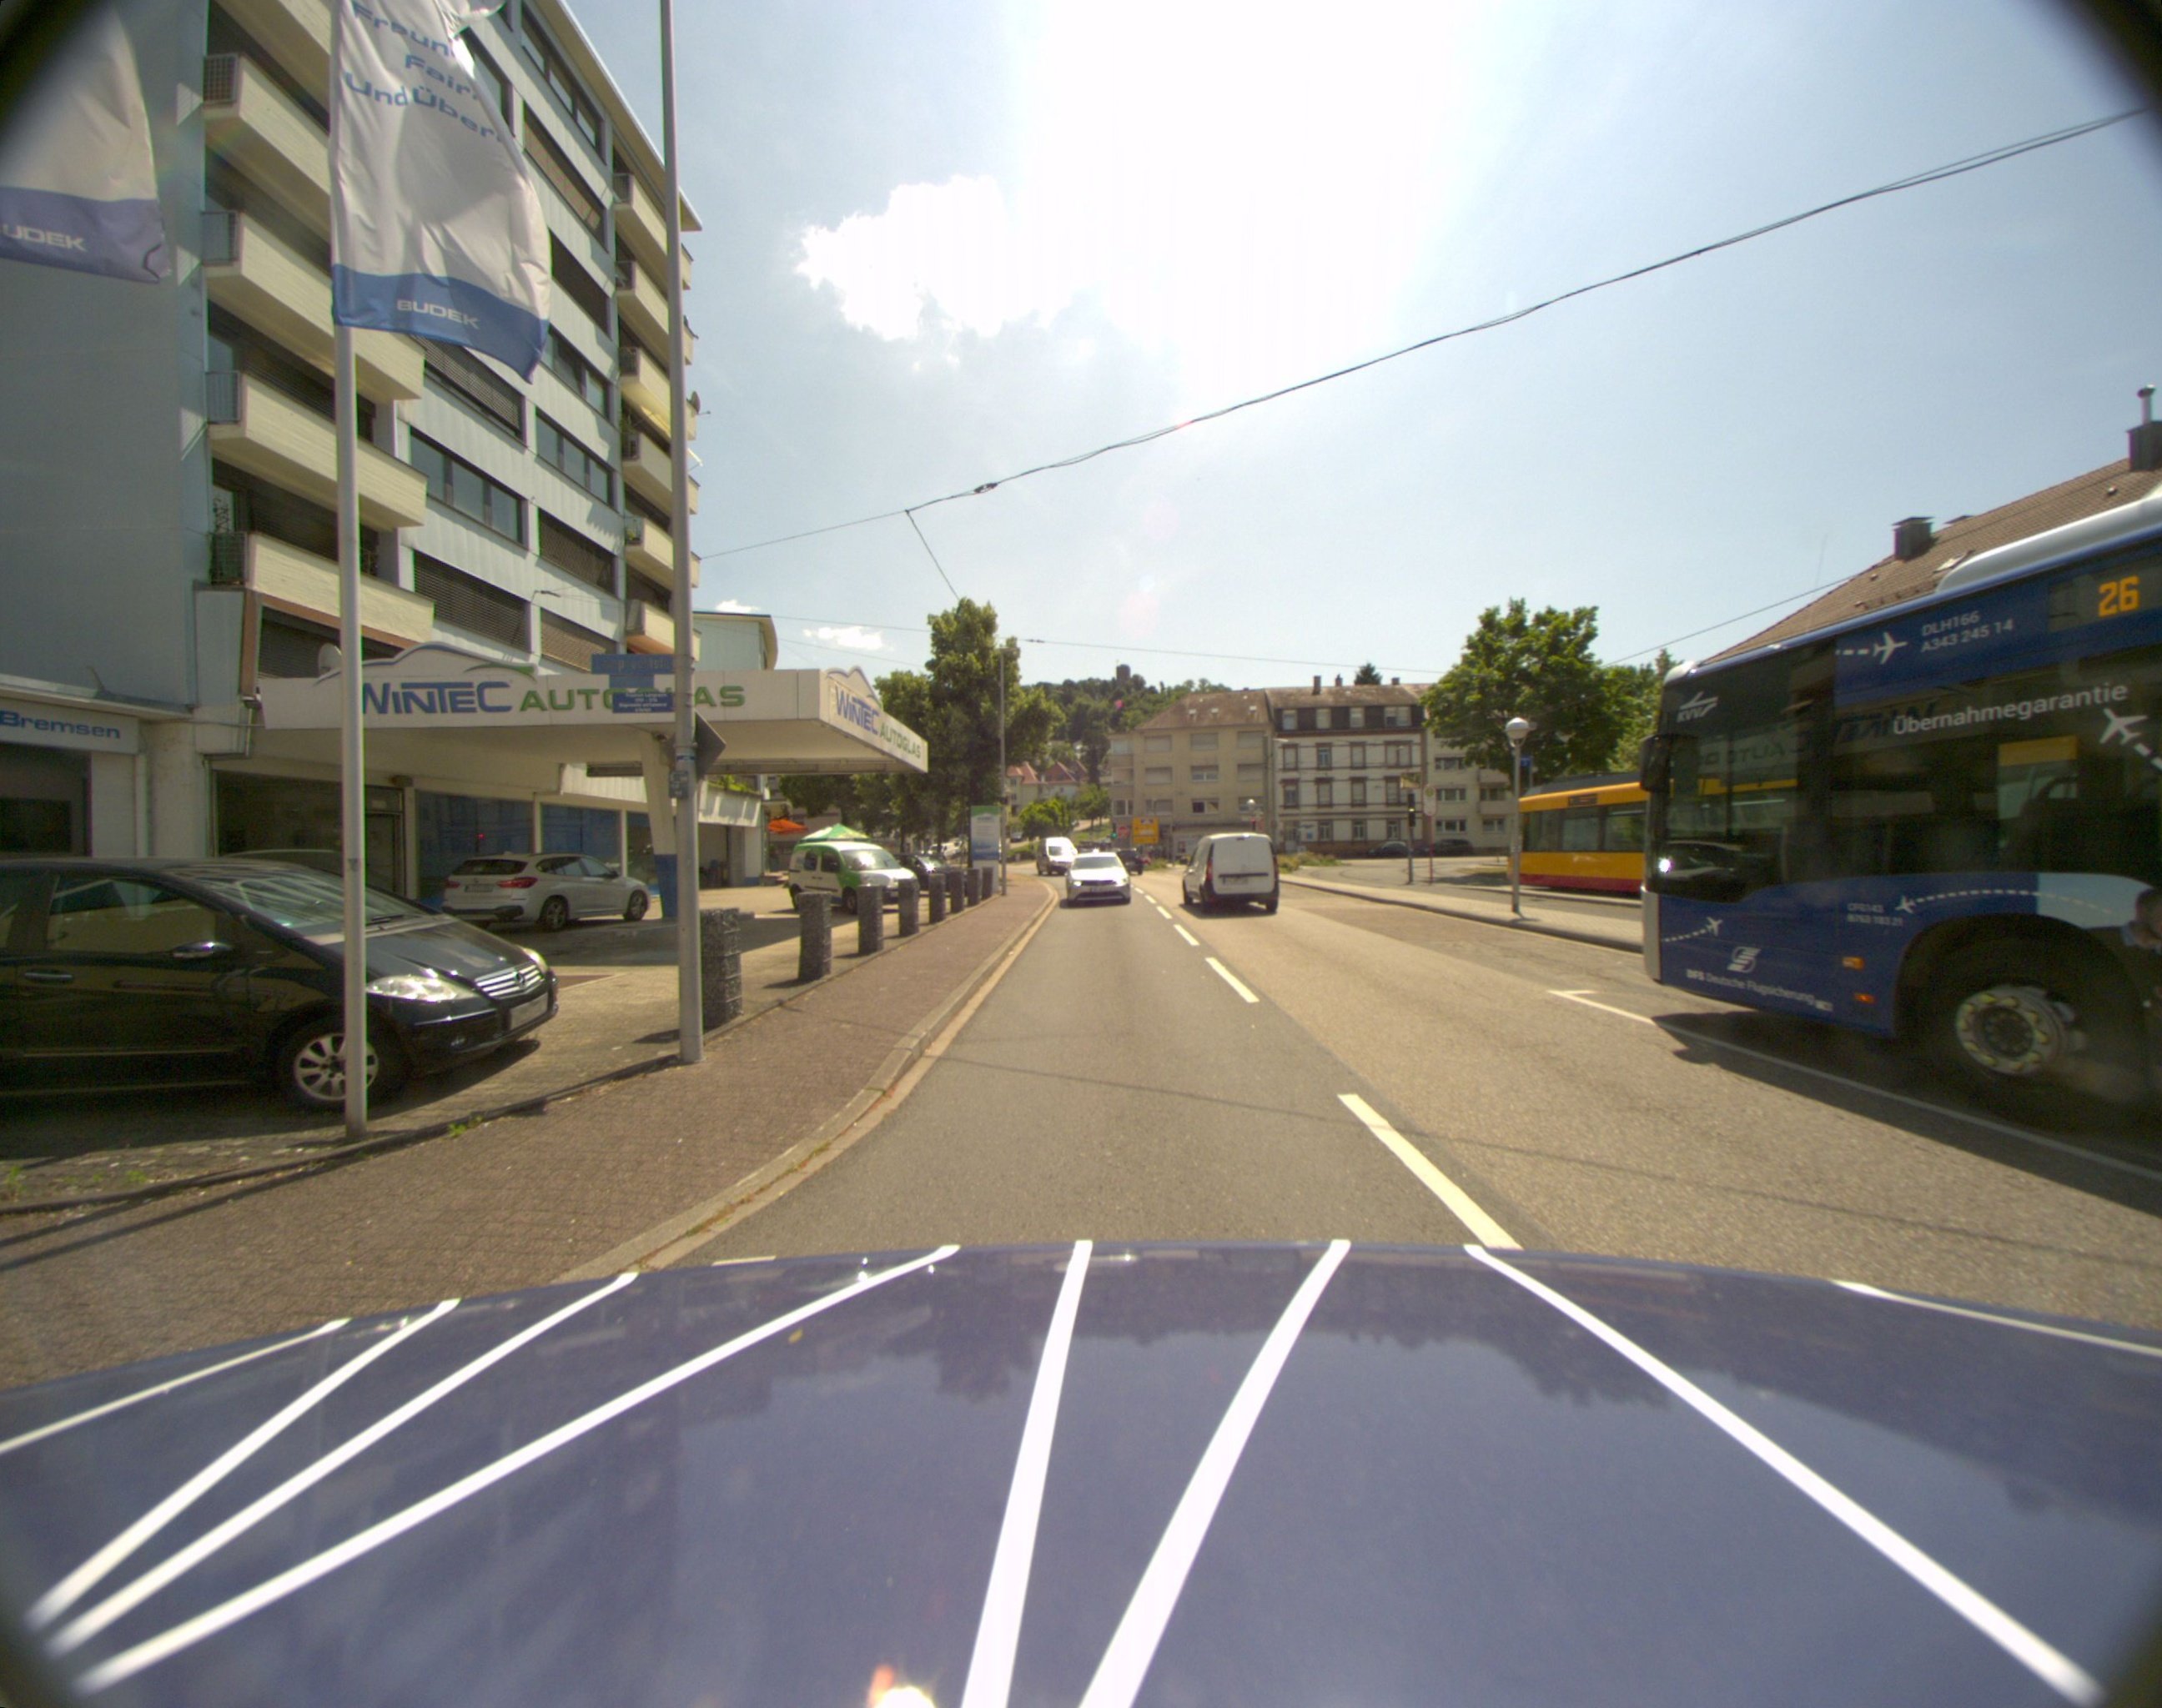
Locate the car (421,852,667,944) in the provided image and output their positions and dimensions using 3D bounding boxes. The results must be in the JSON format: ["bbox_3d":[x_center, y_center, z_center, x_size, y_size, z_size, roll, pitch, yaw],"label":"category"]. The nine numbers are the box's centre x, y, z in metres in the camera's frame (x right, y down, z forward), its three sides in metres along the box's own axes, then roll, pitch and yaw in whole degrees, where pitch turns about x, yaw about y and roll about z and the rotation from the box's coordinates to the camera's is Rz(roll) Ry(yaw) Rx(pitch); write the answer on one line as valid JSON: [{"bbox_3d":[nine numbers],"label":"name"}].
[{"bbox_3d":[-11.160,0.806,16.332,1.750,1.617,4.705,-1,1,3],"label":"car"}]

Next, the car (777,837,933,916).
[{"bbox_3d":[-6.009,0.564,19.963,4.278,1.780,1.826,-2,2,41],"label":"car"}]

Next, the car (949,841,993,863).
[{"bbox_3d":[-11.798,-0.245,81.973,2.398,2.002,6.377,-3,2,13],"label":"car"}]

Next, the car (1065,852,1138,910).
[{"bbox_3d":[0.480,0.704,21.809,1.818,1.371,4.390,-2,1,-1],"label":"car"}]

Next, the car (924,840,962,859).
[{"bbox_3d":[-16.274,-0.561,89.991,2.398,2.002,5.384,-3,2,13],"label":"car"}]

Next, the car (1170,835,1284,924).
[{"bbox_3d":[3.443,0.496,18.794,1.708,1.840,4.711,-3,2,-2],"label":"car"}]

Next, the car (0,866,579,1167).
[{"bbox_3d":[-5.957,0.928,5.072,3.889,1.534,1.840,-1,1,-11],"label":"car"}]

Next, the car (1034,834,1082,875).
[{"bbox_3d":[-1.463,-0.021,45.664,2.000,2.258,5.439,-3,2,-10],"label":"car"}]

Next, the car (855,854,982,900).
[{"bbox_3d":[-5.480,0.725,25.575,3.963,1.421,1.703,0,1,25],"label":"car"}]

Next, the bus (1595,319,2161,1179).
[{"bbox_3d":[5.704,-0.385,0.325,2.915,3.408,12.036,-3,2,1],"label":"bus"}]

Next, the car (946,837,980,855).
[{"bbox_3d":[-14.915,-1.066,96.509,2.398,2.002,5.384,-3,2,13],"label":"car"}]

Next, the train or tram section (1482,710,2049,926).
[{"bbox_3d":[14.864,-0.673,19.128,2.970,3.475,12.712,-3,1,2],"label":"train or tram section"}]

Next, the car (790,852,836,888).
[{"bbox_3d":[-11.921,0.672,33.998,1.714,1.392,4.276,-2,1,-18],"label":"car"}]

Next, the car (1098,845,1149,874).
[{"bbox_3d":[2.338,0.260,42.960,1.842,1.482,4.807,-2,1,-9],"label":"car"}]

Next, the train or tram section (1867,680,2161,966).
[{"bbox_3d":[14.653,-0.401,10.529,2.970,3.475,4.417,-1,1,1],"label":"train or tram section"}]

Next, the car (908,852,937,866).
[{"bbox_3d":[-17.558,0.556,84.298,1.530,1.361,4.159,-3,2,13],"label":"car"}]
